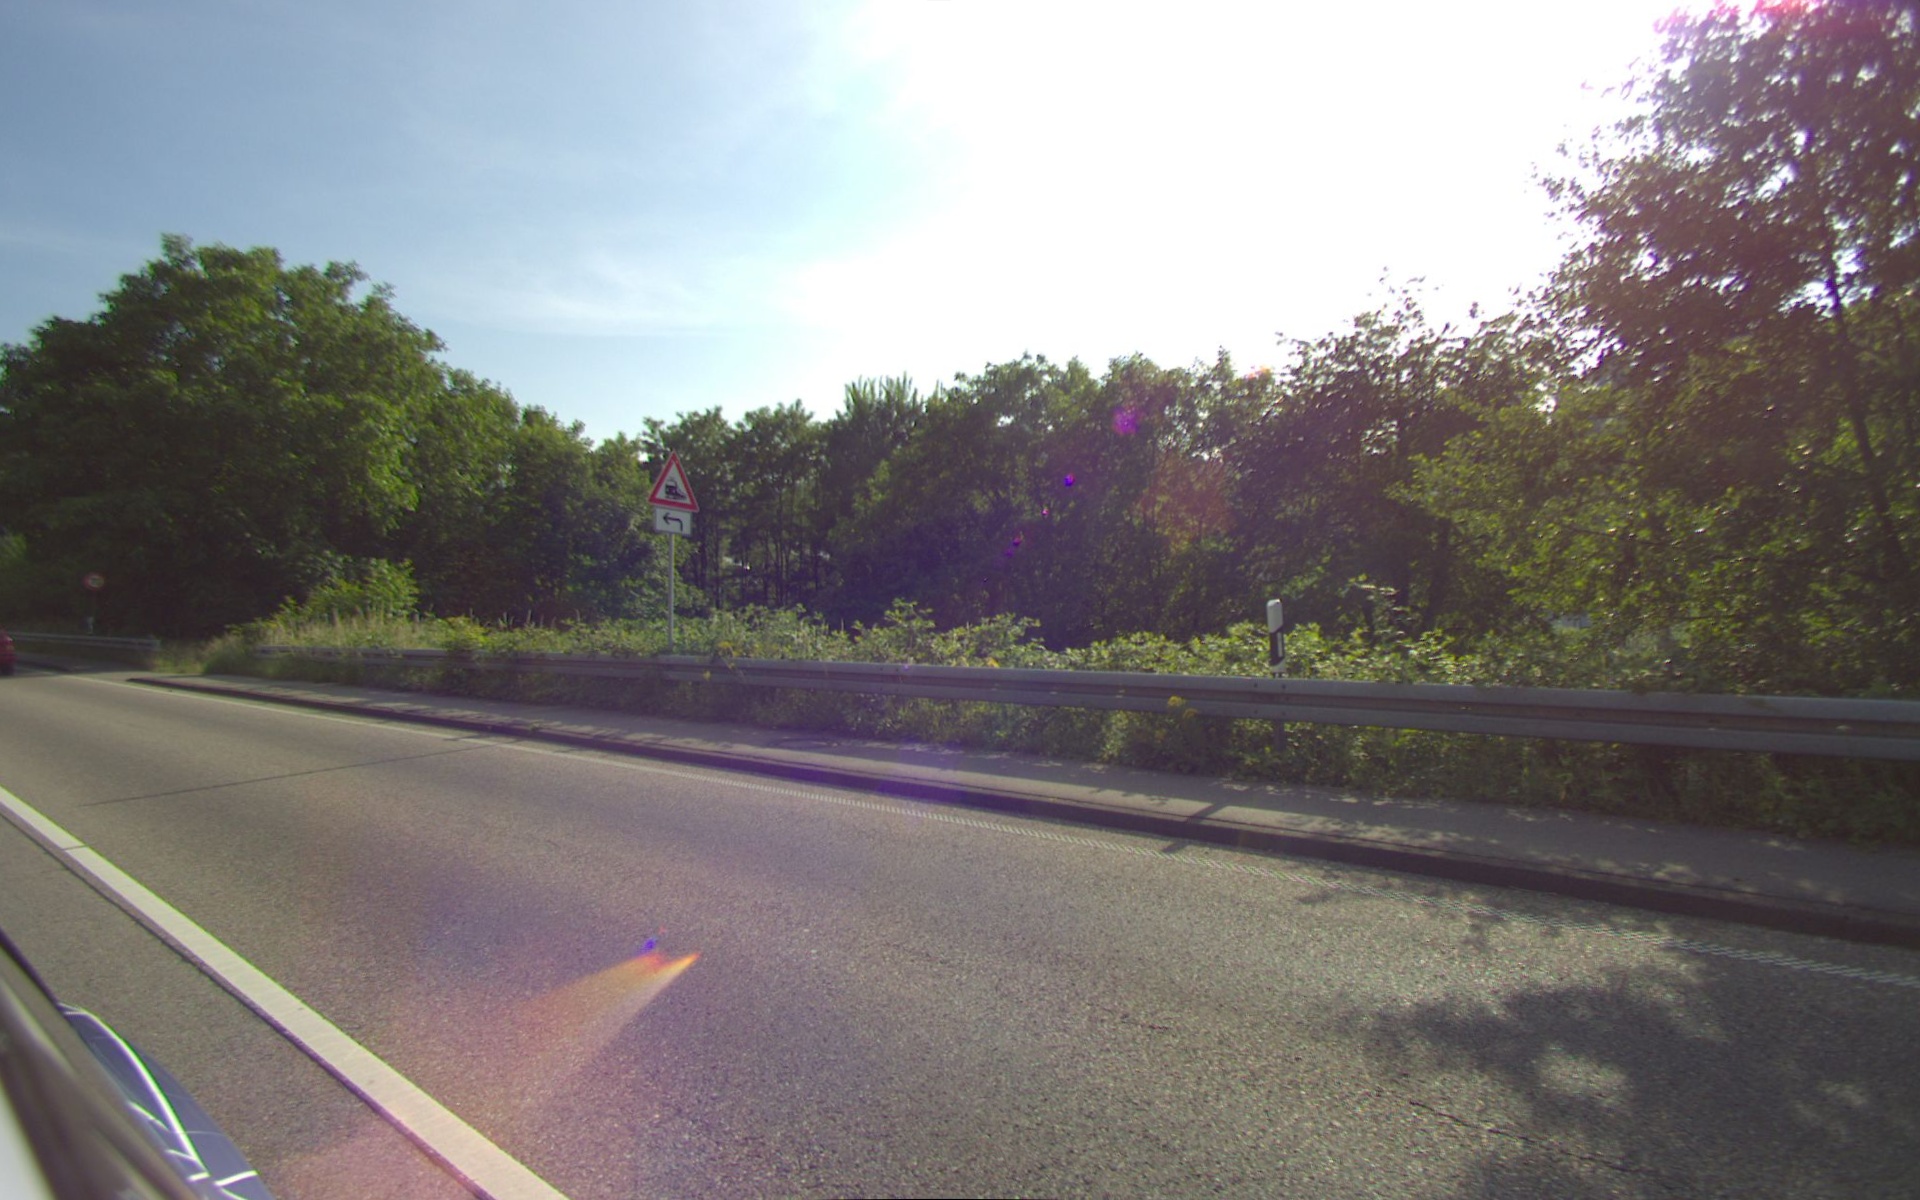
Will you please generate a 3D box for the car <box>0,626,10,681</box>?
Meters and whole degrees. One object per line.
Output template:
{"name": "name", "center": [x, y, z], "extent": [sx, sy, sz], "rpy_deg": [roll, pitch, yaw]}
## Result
{"name": "car", "center": [-25.828, 1.369, 25.921], "extent": [4.104, 1.359, 1.617], "rpy_deg": [-1, 0, 39]}
